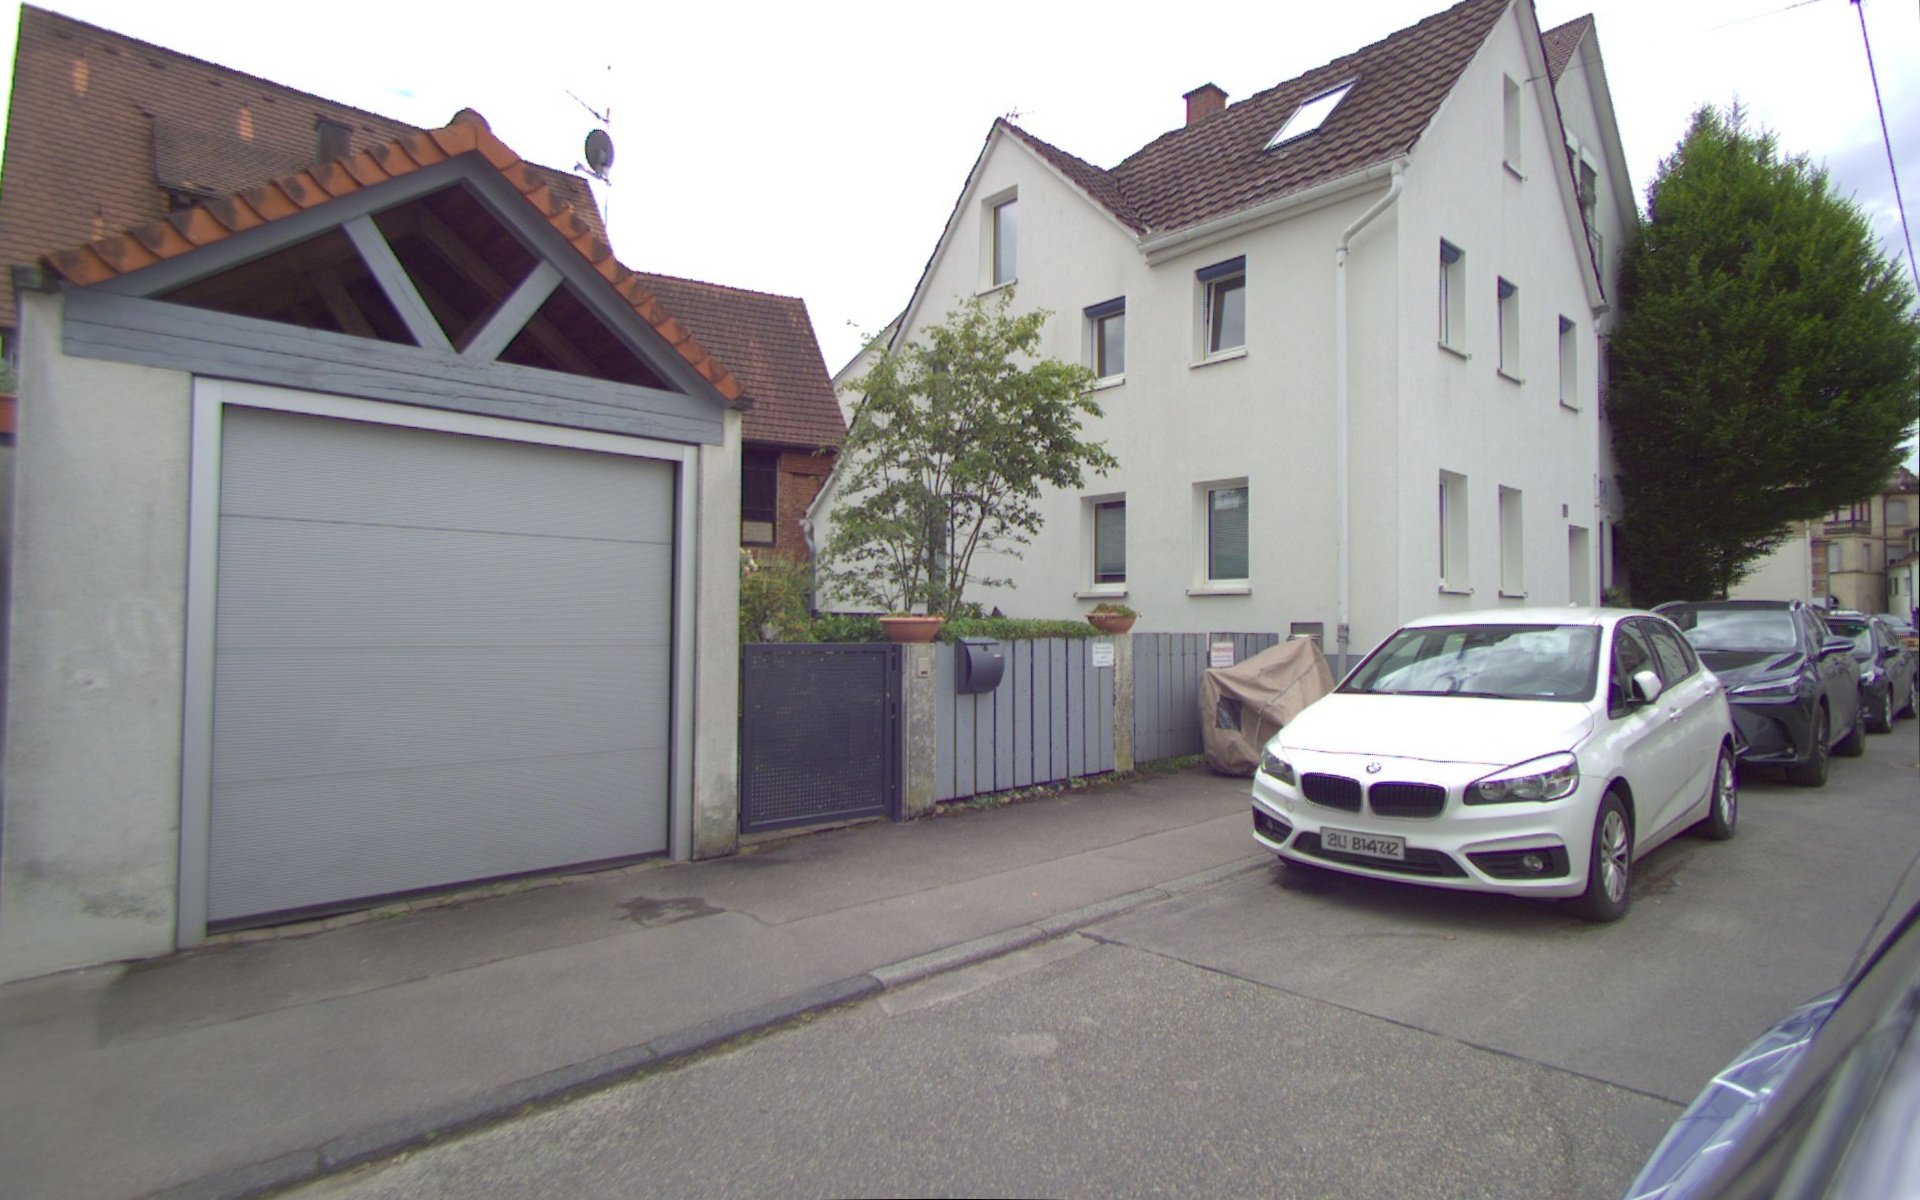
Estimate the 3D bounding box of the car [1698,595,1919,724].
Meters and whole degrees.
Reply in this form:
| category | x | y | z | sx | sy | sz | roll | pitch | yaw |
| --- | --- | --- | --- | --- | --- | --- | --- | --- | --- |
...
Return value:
| category | x | y | z | sx | sy | sz | roll | pitch | yaw |
| --- | --- | --- | --- | --- | --- | --- | --- | --- | --- |
| car | 12.241 | 0.729 | 14.277 | 4.736 | 1.527 | 1.951 | 0 | -2 | -41 |

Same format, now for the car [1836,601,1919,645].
| category | x | y | z | sx | sy | sz | roll | pitch | yaw |
| --- | --- | --- | --- | --- | --- | --- | --- | --- | --- |
| car | 36.560 | 0.888 | 40.007 | 1.776 | 1.621 | 4.500 | -1 | -1 | 26 |

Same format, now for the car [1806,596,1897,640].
| category | x | y | z | sx | sy | sz | roll | pitch | yaw |
| --- | --- | --- | --- | --- | --- | --- | --- | --- | --- |
| car | 38.900 | 0.791 | 44.283 | 1.812 | 1.815 | 4.181 | -1 | -2 | 25 |

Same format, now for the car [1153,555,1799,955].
| category | x | y | z | sx | sy | sz | roll | pitch | yaw |
| --- | --- | --- | --- | --- | --- | --- | --- | --- | --- |
| car | 3.558 | 0.673 | 6.492 | 4.793 | 1.636 | 1.996 | 0 | -2 | -41 |

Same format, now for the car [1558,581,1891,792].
| category | x | y | z | sx | sy | sz | roll | pitch | yaw |
| --- | --- | --- | --- | --- | --- | --- | --- | --- | --- |
| car | 7.923 | 0.678 | 10.285 | 4.818 | 1.654 | 1.865 | 0 | -1 | -43 |

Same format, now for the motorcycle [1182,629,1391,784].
| category | x | y | z | sx | sy | sz | roll | pitch | yaw |
| --- | --- | --- | --- | --- | --- | --- | --- | --- | --- |
| motorcycle | 3.046 | 0.908 | 9.339 | 2.131 | 1.187 | 0.820 | -1 | 0 | -39 |
